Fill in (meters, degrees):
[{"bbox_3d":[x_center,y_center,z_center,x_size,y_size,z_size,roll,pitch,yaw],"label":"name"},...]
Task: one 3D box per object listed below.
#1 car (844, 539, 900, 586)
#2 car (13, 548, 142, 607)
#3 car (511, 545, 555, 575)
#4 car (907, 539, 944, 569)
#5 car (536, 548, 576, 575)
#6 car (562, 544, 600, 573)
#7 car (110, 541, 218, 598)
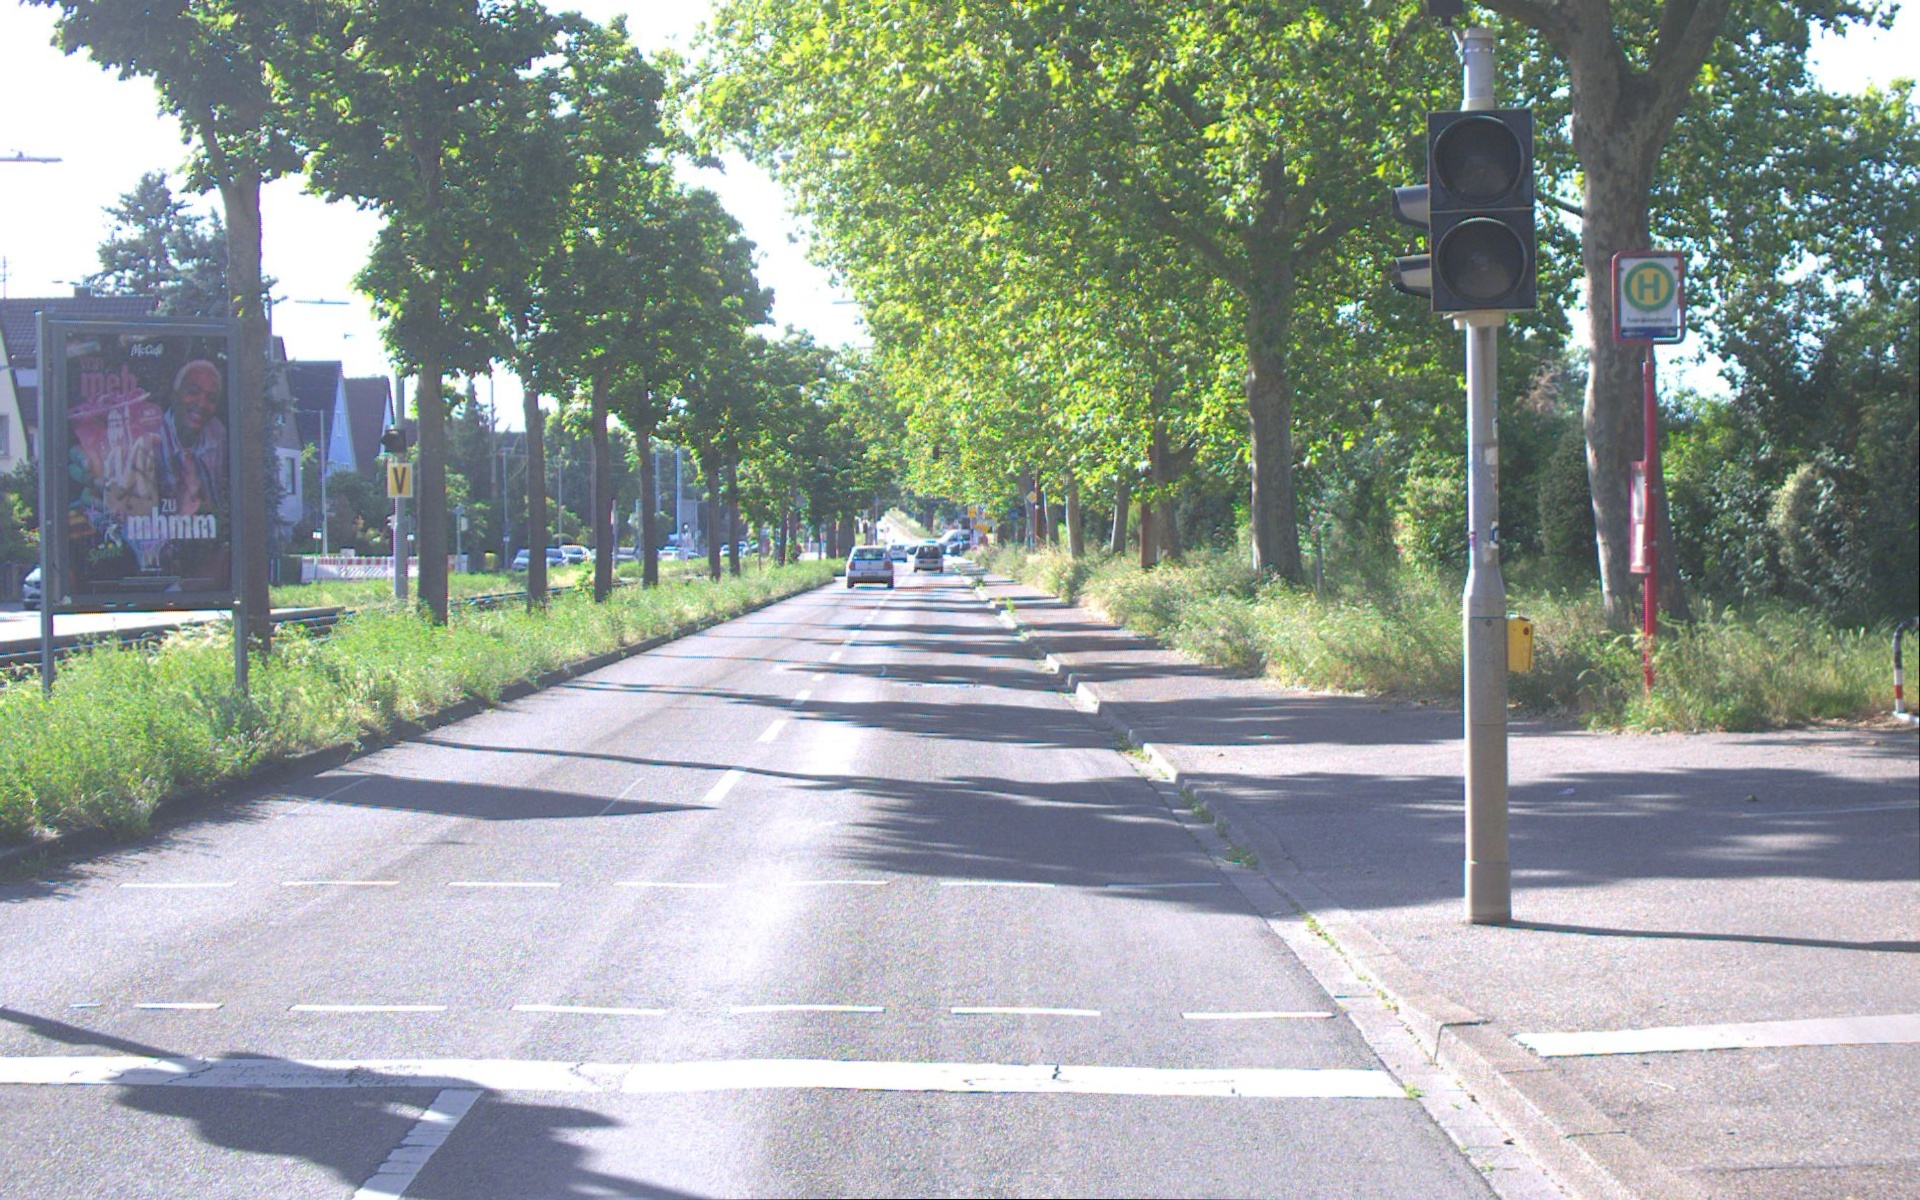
[{"bbox_3d":[-3.037,-1.303,119.314,1.860,1.595,4.228,1,1,-1],"label":"car"},{"bbox_3d":[-22.087,-0.570,86.199,1.993,1.421,4.410,1,1,1],"label":"car"},{"bbox_3d":[-22.805,-2.138,183.787,1.860,1.537,4.228,1,1,-1],"label":"car"},{"bbox_3d":[-1.939,-2.559,190.975,1.993,1.598,4.473,1,1,-1],"label":"car"},{"bbox_3d":[-22.648,-2.147,192.937,1.729,1.461,4.603,1,1,-1],"label":"car"},{"bbox_3d":[-22.470,-2.474,203.988,1.748,1.645,4.555,1,1,-1],"label":"car"},{"bbox_3d":[-22.046,-0.853,95.336,1.993,1.445,4.128,3,1,0],"label":"car"}]
